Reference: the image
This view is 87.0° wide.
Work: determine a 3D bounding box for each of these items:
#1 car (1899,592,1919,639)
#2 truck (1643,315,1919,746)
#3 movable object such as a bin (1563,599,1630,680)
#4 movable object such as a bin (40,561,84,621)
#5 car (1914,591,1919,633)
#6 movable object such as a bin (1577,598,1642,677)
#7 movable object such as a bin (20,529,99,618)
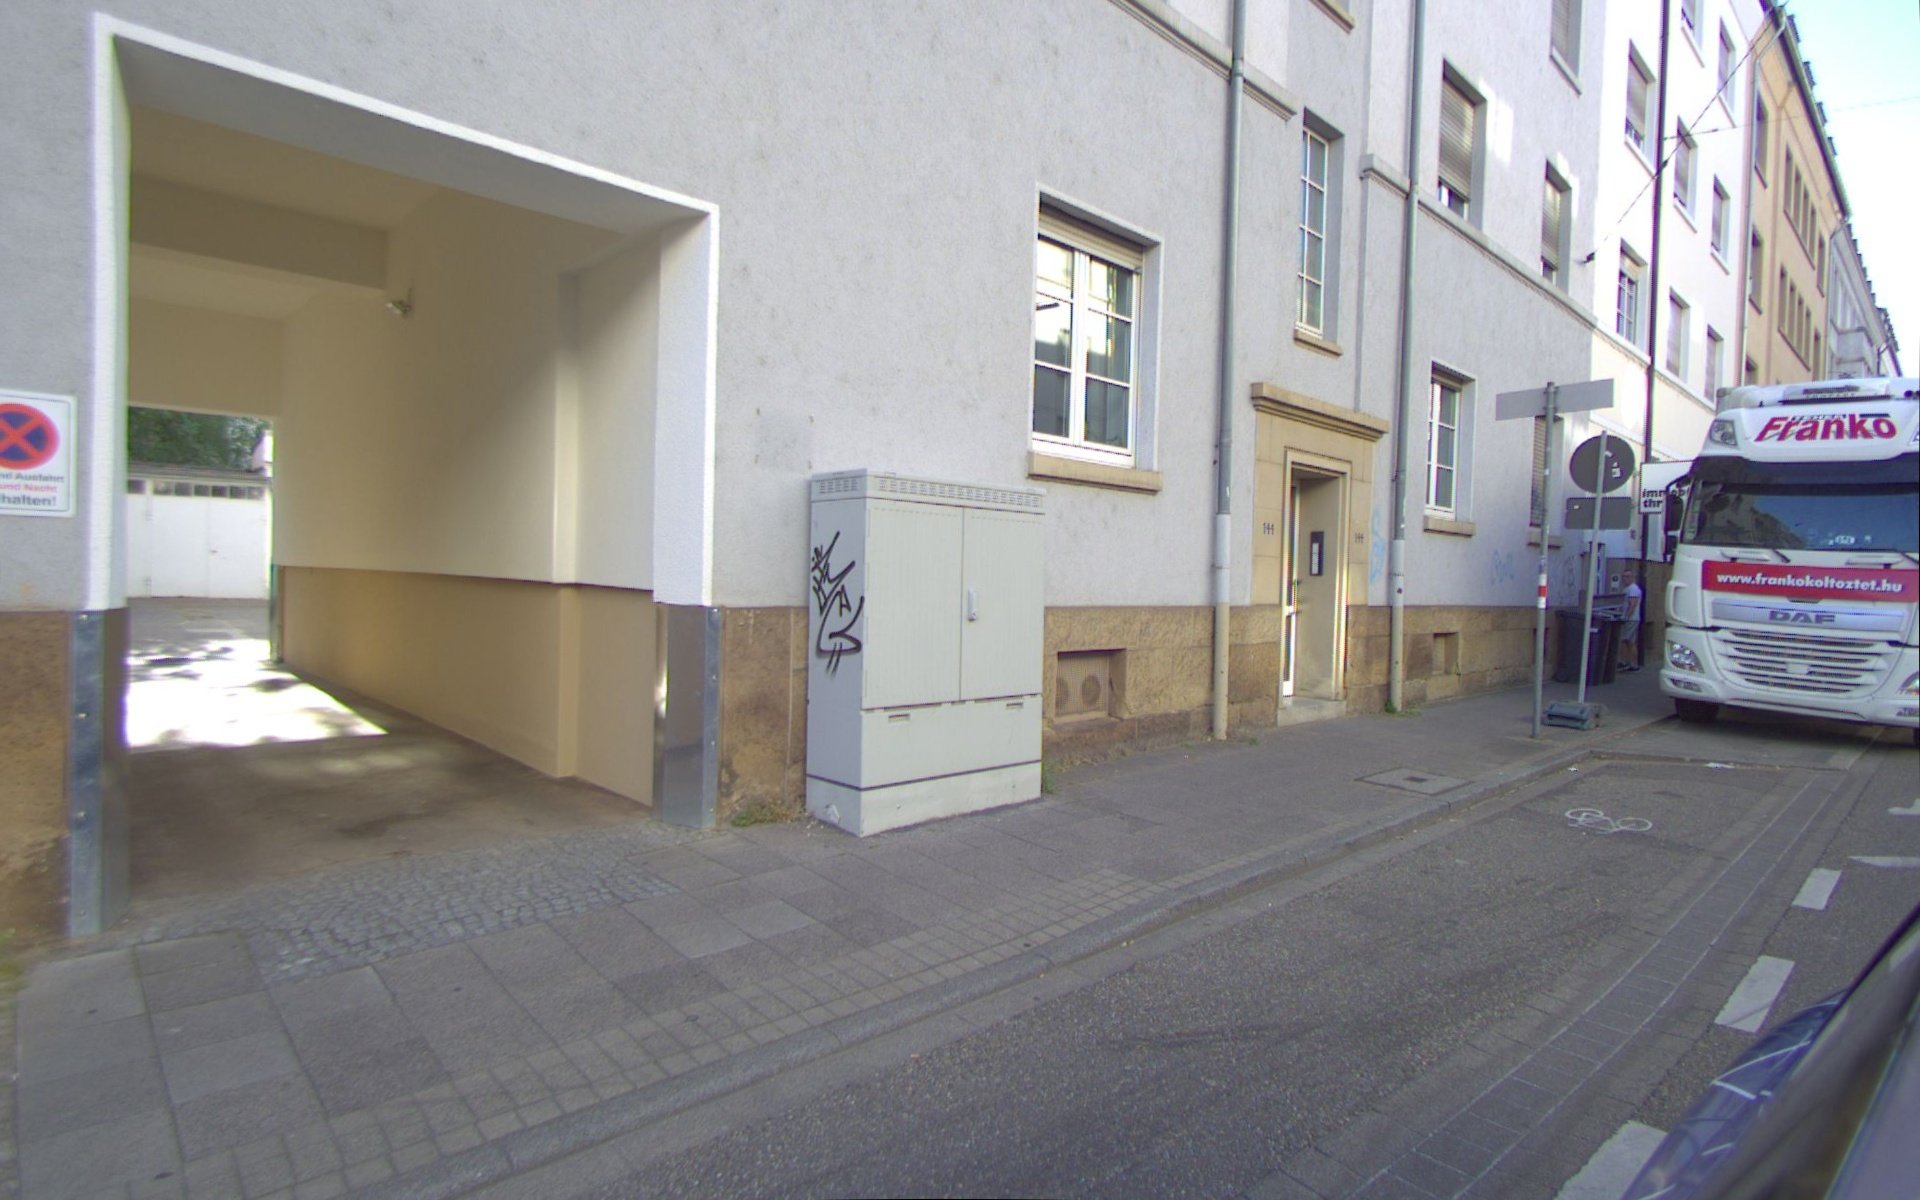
[{"bbox_3d":[33.505,0.527,34.736,4.080,1.551,1.681,0,0,-44],"label":"car"},{"bbox_3d":[12.576,-0.680,13.883,11.621,3.975,2.778,0,2,-44],"label":"truck"},{"bbox_3d":[9.172,0.550,14.590,0.560,1.107,0.665,0,2,-43],"label":"movable object such as a bin"},{"bbox_3d":[-14.376,-0.148,16.200,0.518,0.922,0.580,0,2,-43],"label":"movable object such as a bin"},{"bbox_3d":[37.675,0.460,38.634,4.080,1.551,1.681,0,0,-44],"label":"car"},{"bbox_3d":[9.651,0.541,15.041,0.560,1.107,0.665,0,2,-43],"label":"movable object such as a bin"},{"bbox_3d":[-15.153,-0.455,17.019,0.946,1.426,1.597,0,2,-43],"label":"movable object such as a bin"}]
